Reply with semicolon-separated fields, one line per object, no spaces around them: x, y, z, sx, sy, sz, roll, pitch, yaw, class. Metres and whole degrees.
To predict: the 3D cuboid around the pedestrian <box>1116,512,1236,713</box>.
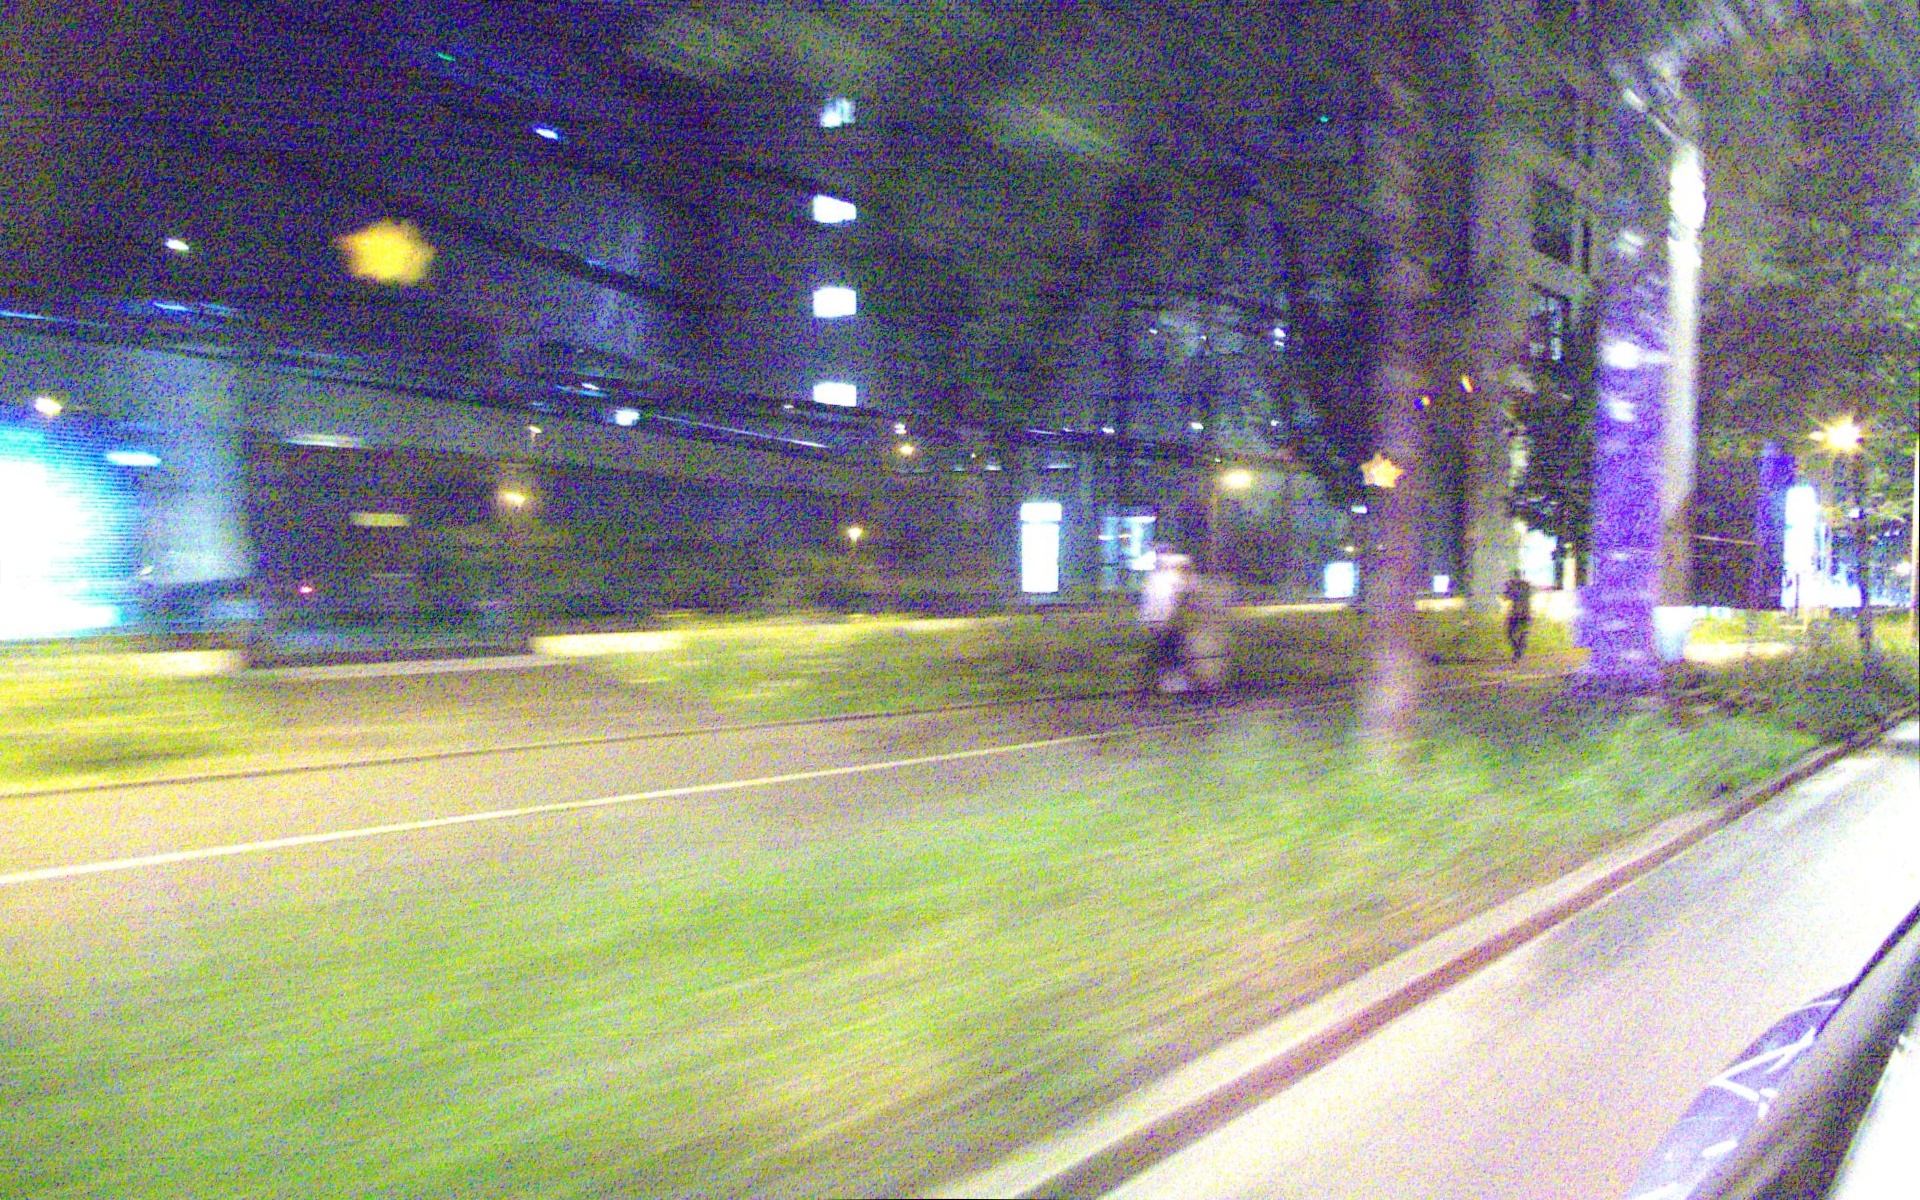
2.184;0.099;10.281;0.777;1.936;0.808;1;3;-31;pedestrian

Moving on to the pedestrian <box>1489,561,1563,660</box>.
10.277;0.163;18.382;0.940;1.728;0.854;0;2;-40;pedestrian
